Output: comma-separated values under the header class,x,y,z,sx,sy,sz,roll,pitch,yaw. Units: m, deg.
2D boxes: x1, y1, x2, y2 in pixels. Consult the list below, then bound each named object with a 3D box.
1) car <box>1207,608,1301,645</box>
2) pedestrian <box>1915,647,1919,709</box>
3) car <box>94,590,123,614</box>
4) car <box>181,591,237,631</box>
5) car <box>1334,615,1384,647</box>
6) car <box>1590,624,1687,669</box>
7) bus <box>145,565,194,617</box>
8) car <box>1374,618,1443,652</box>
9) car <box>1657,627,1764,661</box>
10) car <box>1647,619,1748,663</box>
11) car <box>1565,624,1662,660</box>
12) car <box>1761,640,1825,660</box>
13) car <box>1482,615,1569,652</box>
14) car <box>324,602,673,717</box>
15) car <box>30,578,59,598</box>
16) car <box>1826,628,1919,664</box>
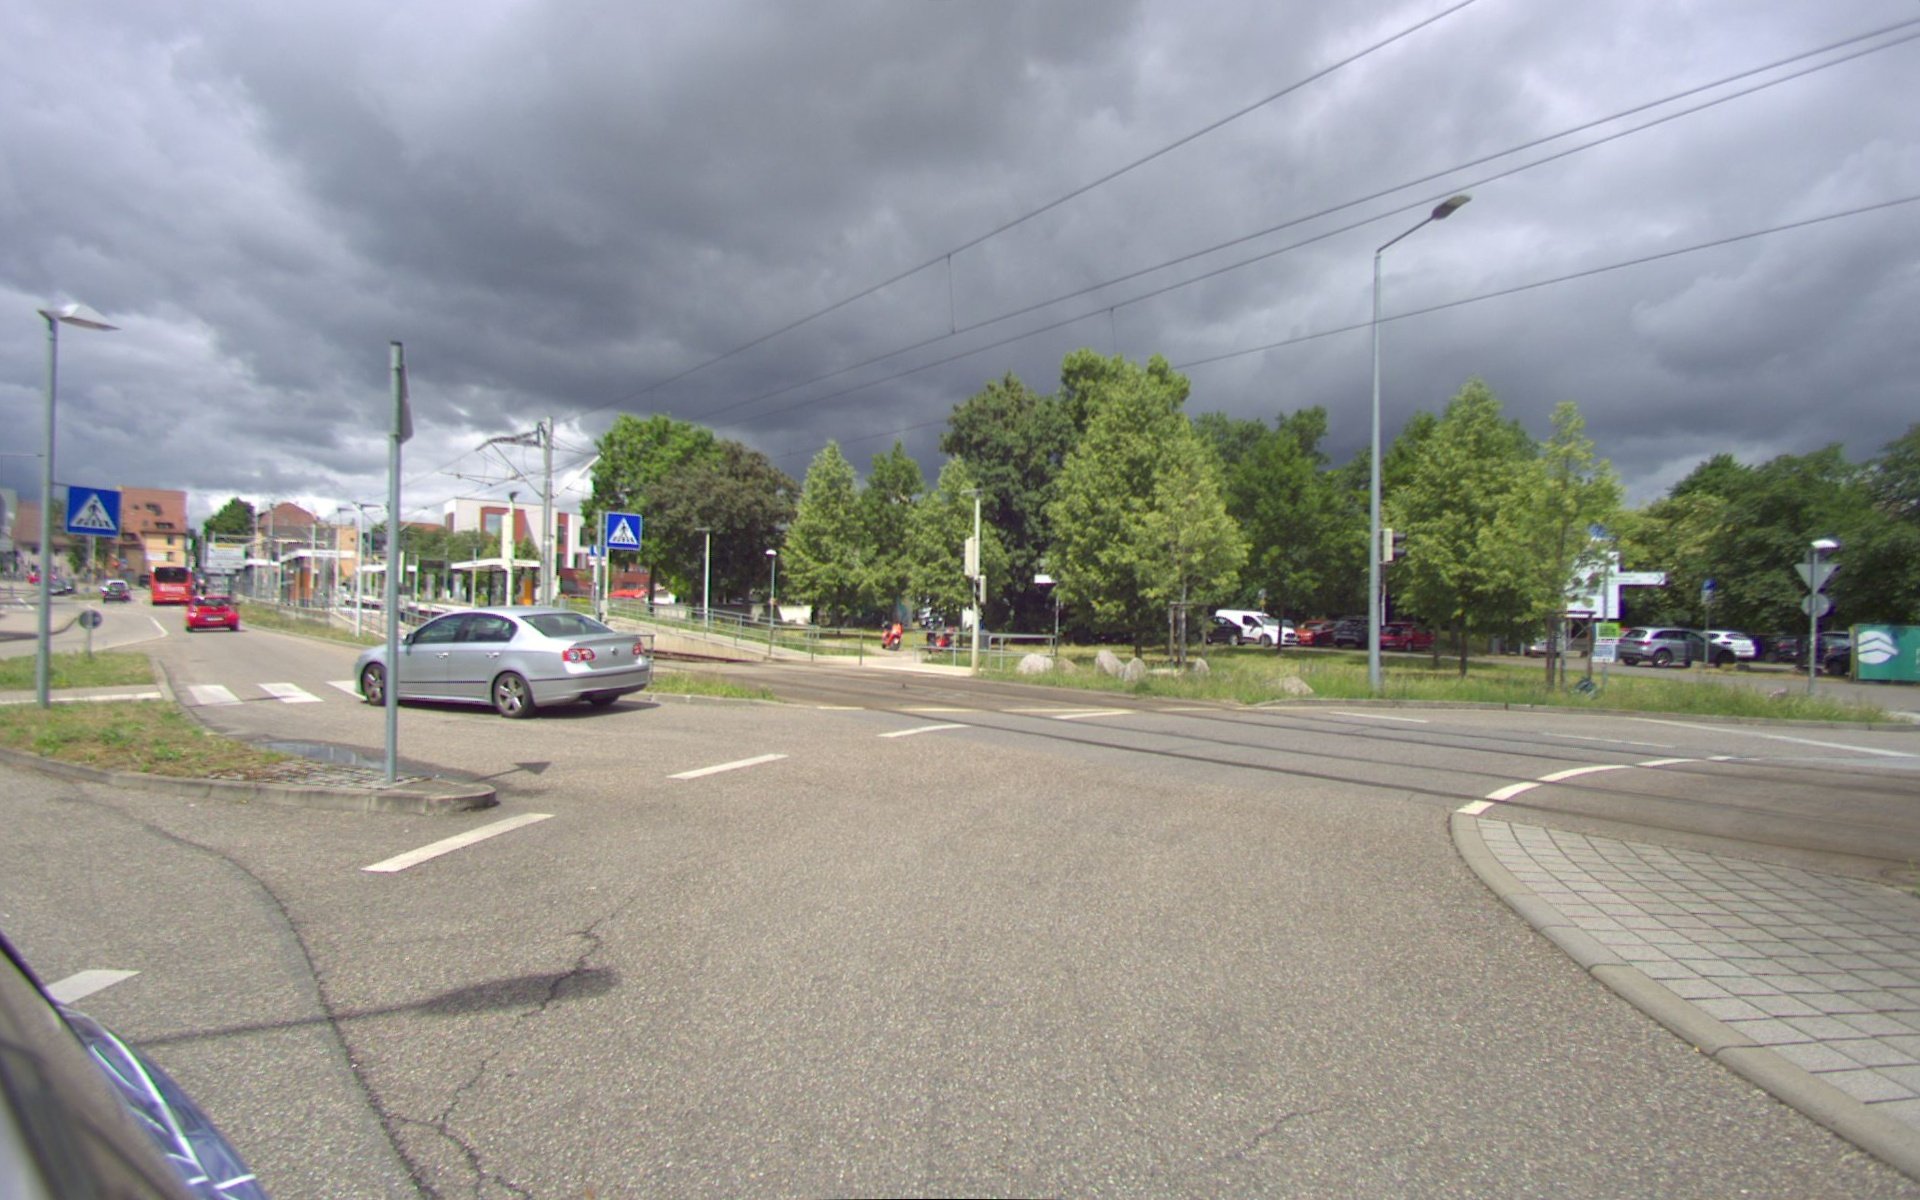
class,x,y,z,sx,sy,sz,roll,pitch,yaw
car,14.809,1.312,51.167,1.715,1.702,4.358,0,0,-41
pedestrian,23.218,1.869,23.834,0.744,1.468,0.892,1,0,18
car,-71.735,0.172,85.307,1.822,1.942,3.784,2,-2,-40
car,-30.730,0.423,41.375,1.712,1.521,3.521,0,0,-39
car,21.105,1.658,53.442,1.625,1.602,3.576,1,-2,35
car,28.746,1.923,43.016,1.977,1.601,3.576,2,1,8
bus,-64.308,-0.664,82.397,2.878,3.916,10.400,2,-1,-38
car,22.914,1.794,51.659,3.560,1.602,1.633,3,-2,-36
car,37.464,2.173,50.642,1.967,1.604,4.009,2,-2,-12
car,31.384,1.721,43.208,1.977,1.601,3.576,2,1,8
car,32.310,2.056,50.123,1.966,1.602,3.596,3,-2,-18
car,40.327,2.406,49.008,2.214,0.875,1.128,3,-2,-4
car,27.093,1.577,48.638,1.972,1.697,3.999,1,-1,0
car,-6.591,0.747,14.450,4.630,1.392,1.927,1,0,22
car,-94.693,-1.211,104.698,1.968,1.874,4.007,2,-2,-40
car,43.588,2.149,47.486,3.956,1.608,1.994,1,-1,10
